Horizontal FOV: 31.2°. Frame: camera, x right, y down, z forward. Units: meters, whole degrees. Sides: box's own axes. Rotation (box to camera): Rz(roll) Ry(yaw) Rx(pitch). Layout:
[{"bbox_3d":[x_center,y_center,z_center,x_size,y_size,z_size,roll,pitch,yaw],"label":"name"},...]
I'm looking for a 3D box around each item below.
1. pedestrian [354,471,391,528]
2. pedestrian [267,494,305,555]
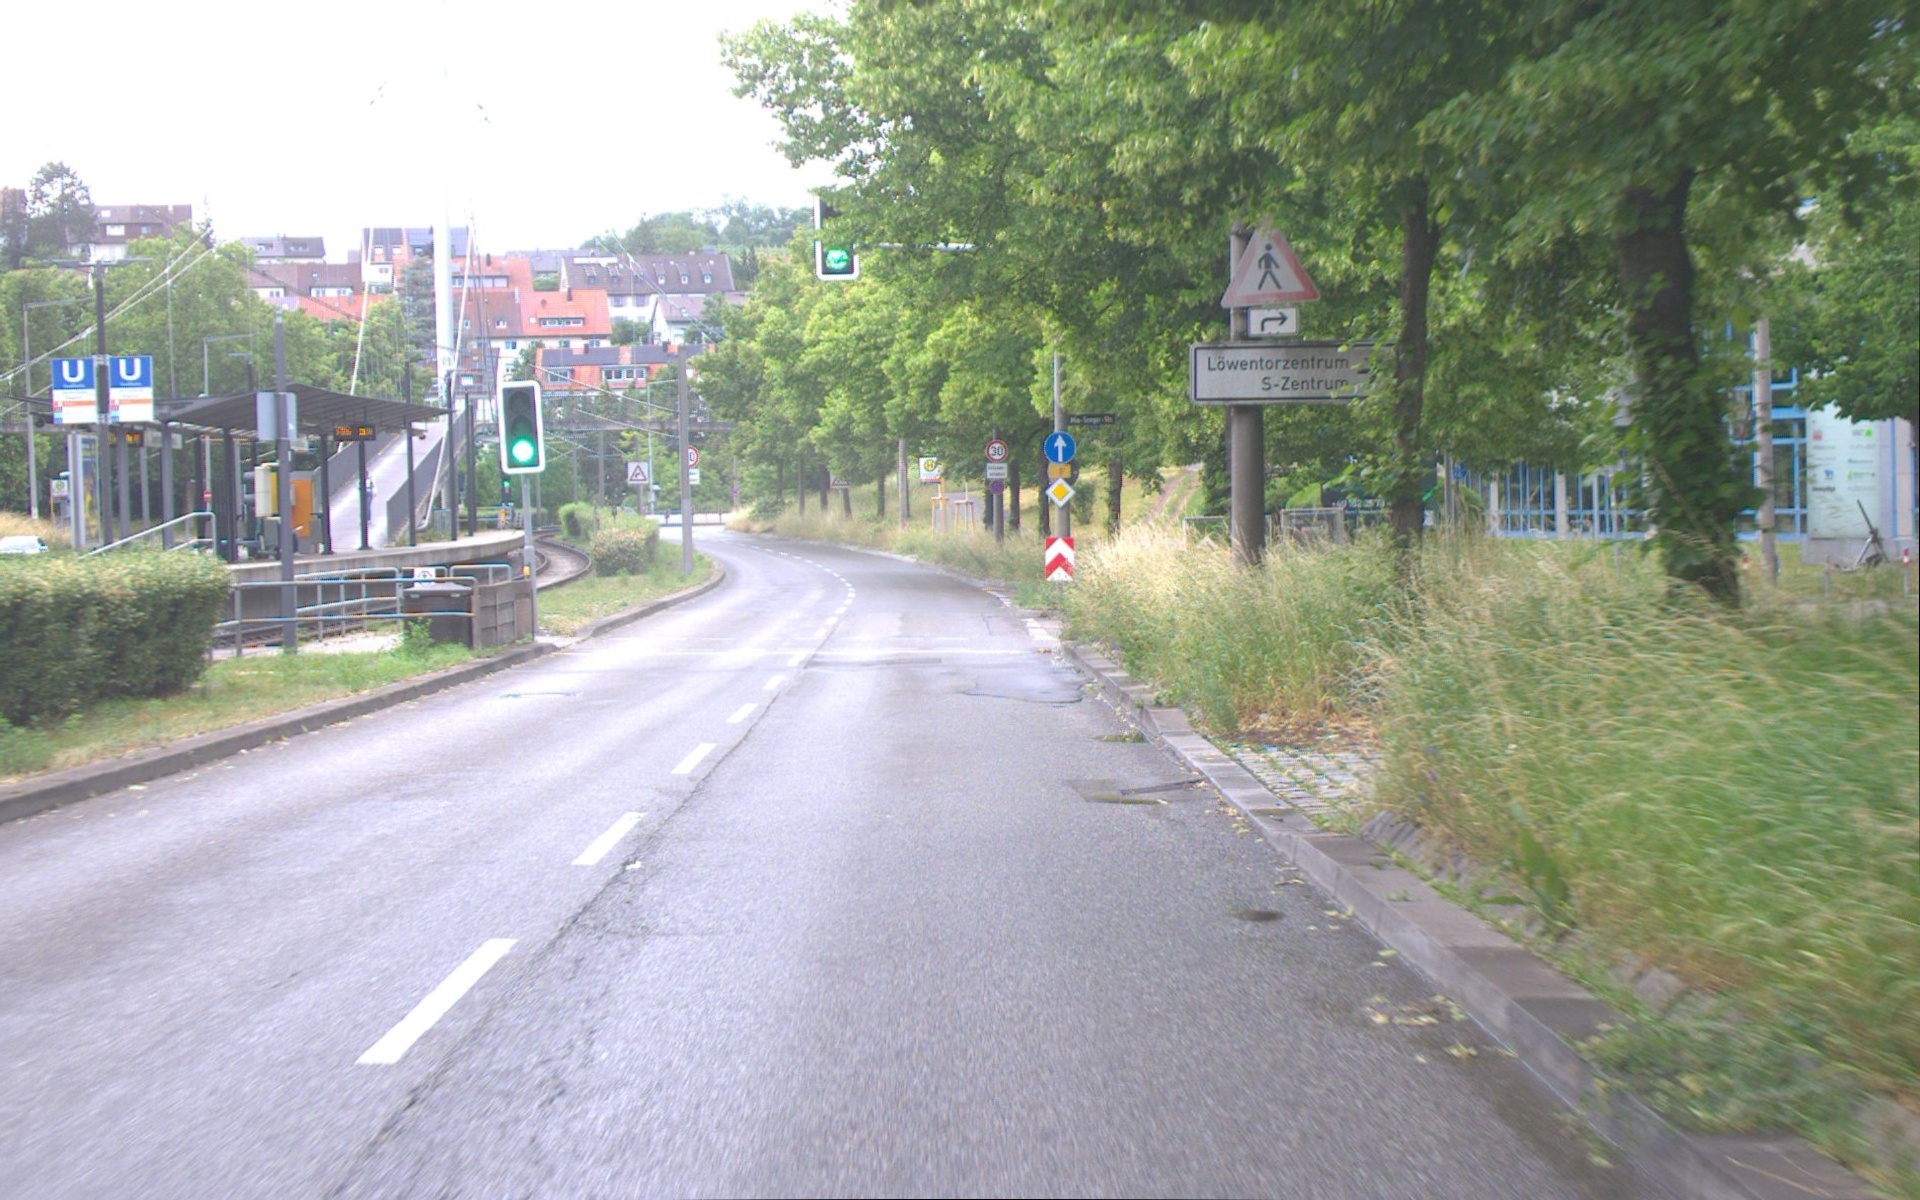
[{"bbox_3d":[-16.801,-2.877,98.359,0.935,1.605,1.027,0,1,-4],"label":"pedestrian"},{"bbox_3d":[-15.213,-1.706,77.644,0.752,1.351,0.692,0,1,-4],"label":"pedestrian"}]
